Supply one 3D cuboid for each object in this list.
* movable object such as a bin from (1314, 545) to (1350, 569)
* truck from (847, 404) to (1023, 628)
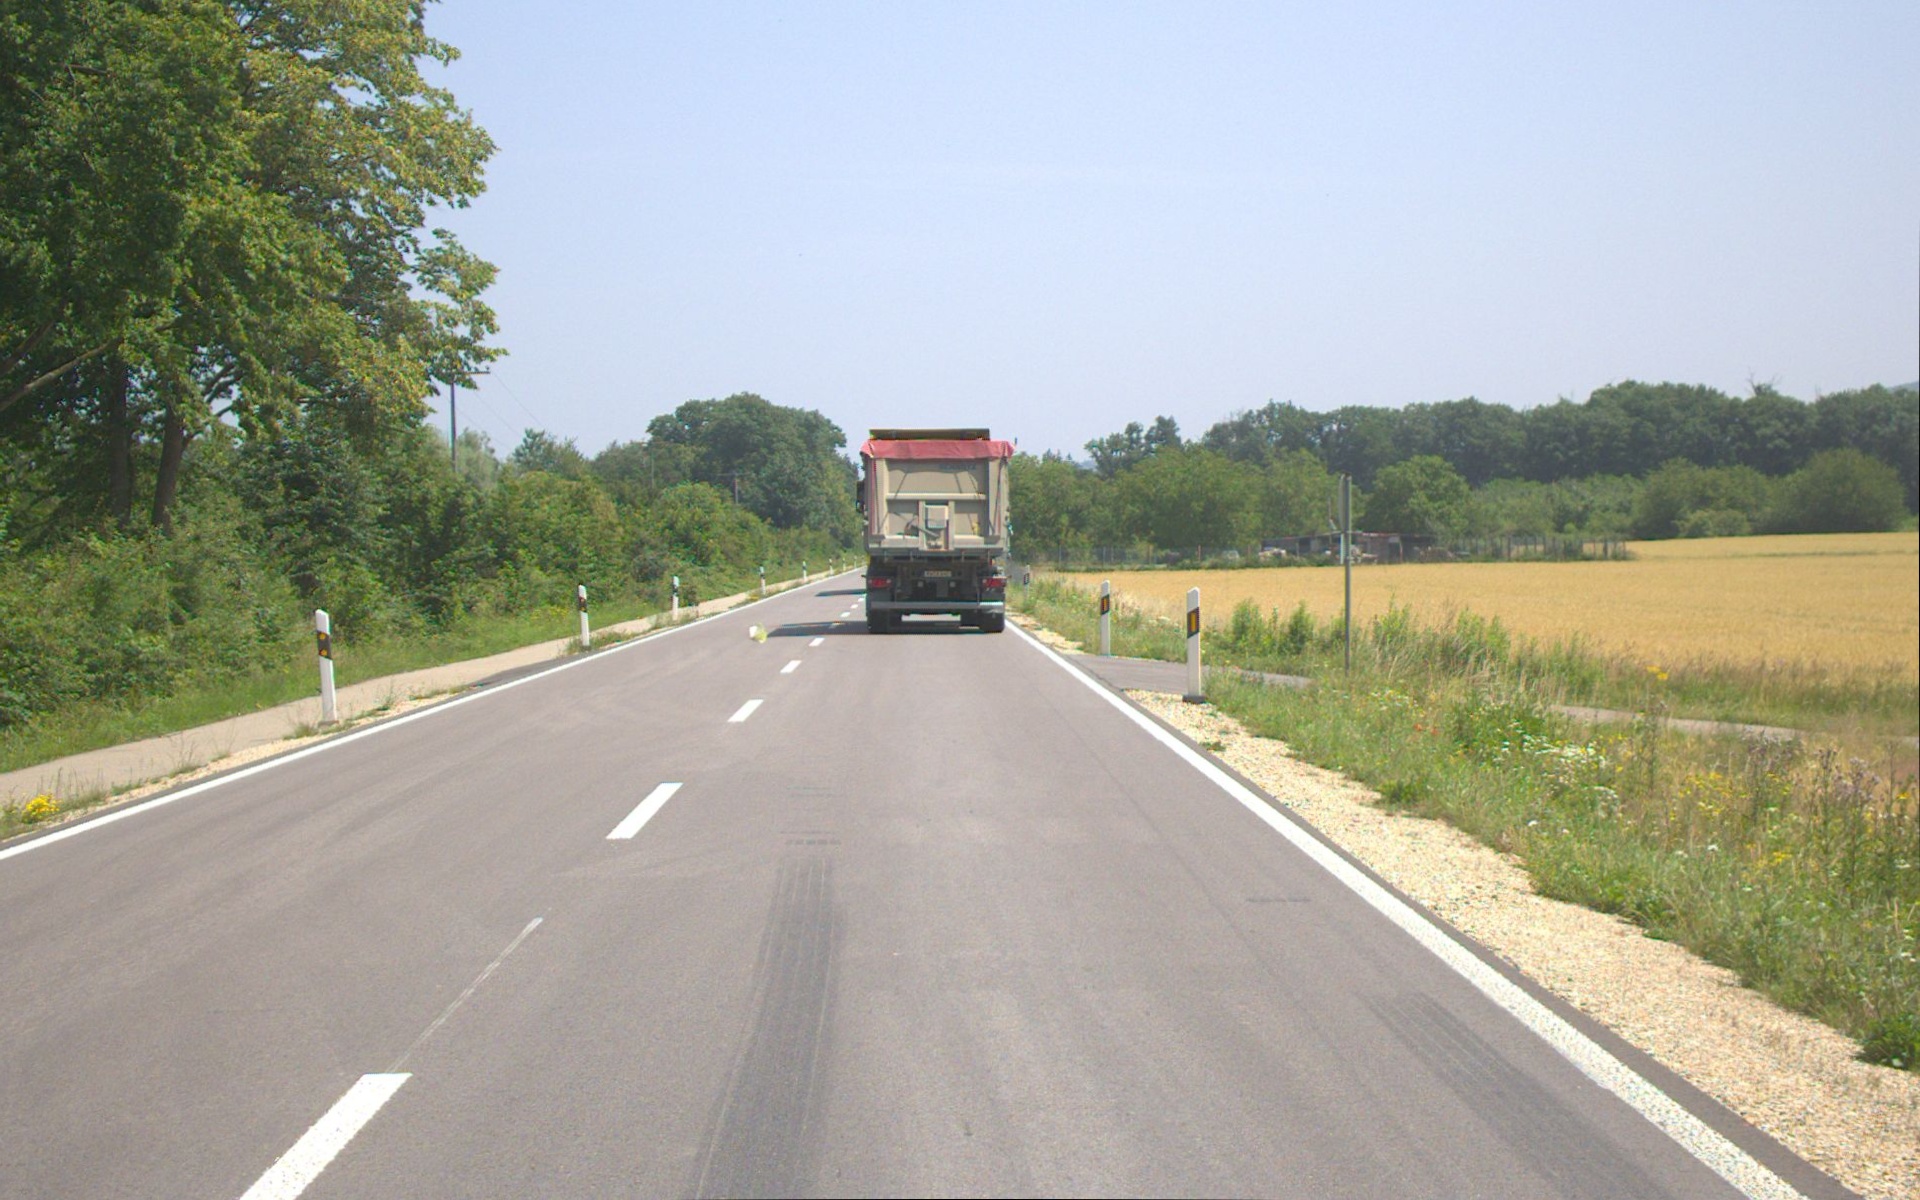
[{"bbox_3d":[23.914,-2.789,221.026,1.570,1.491,3.659,-1,1,-5],"label":"movable object such as a bin"},{"bbox_3d":[-0.513,-1.517,65.723,3.009,3.861,12.210,1,1,-1],"label":"truck"}]
